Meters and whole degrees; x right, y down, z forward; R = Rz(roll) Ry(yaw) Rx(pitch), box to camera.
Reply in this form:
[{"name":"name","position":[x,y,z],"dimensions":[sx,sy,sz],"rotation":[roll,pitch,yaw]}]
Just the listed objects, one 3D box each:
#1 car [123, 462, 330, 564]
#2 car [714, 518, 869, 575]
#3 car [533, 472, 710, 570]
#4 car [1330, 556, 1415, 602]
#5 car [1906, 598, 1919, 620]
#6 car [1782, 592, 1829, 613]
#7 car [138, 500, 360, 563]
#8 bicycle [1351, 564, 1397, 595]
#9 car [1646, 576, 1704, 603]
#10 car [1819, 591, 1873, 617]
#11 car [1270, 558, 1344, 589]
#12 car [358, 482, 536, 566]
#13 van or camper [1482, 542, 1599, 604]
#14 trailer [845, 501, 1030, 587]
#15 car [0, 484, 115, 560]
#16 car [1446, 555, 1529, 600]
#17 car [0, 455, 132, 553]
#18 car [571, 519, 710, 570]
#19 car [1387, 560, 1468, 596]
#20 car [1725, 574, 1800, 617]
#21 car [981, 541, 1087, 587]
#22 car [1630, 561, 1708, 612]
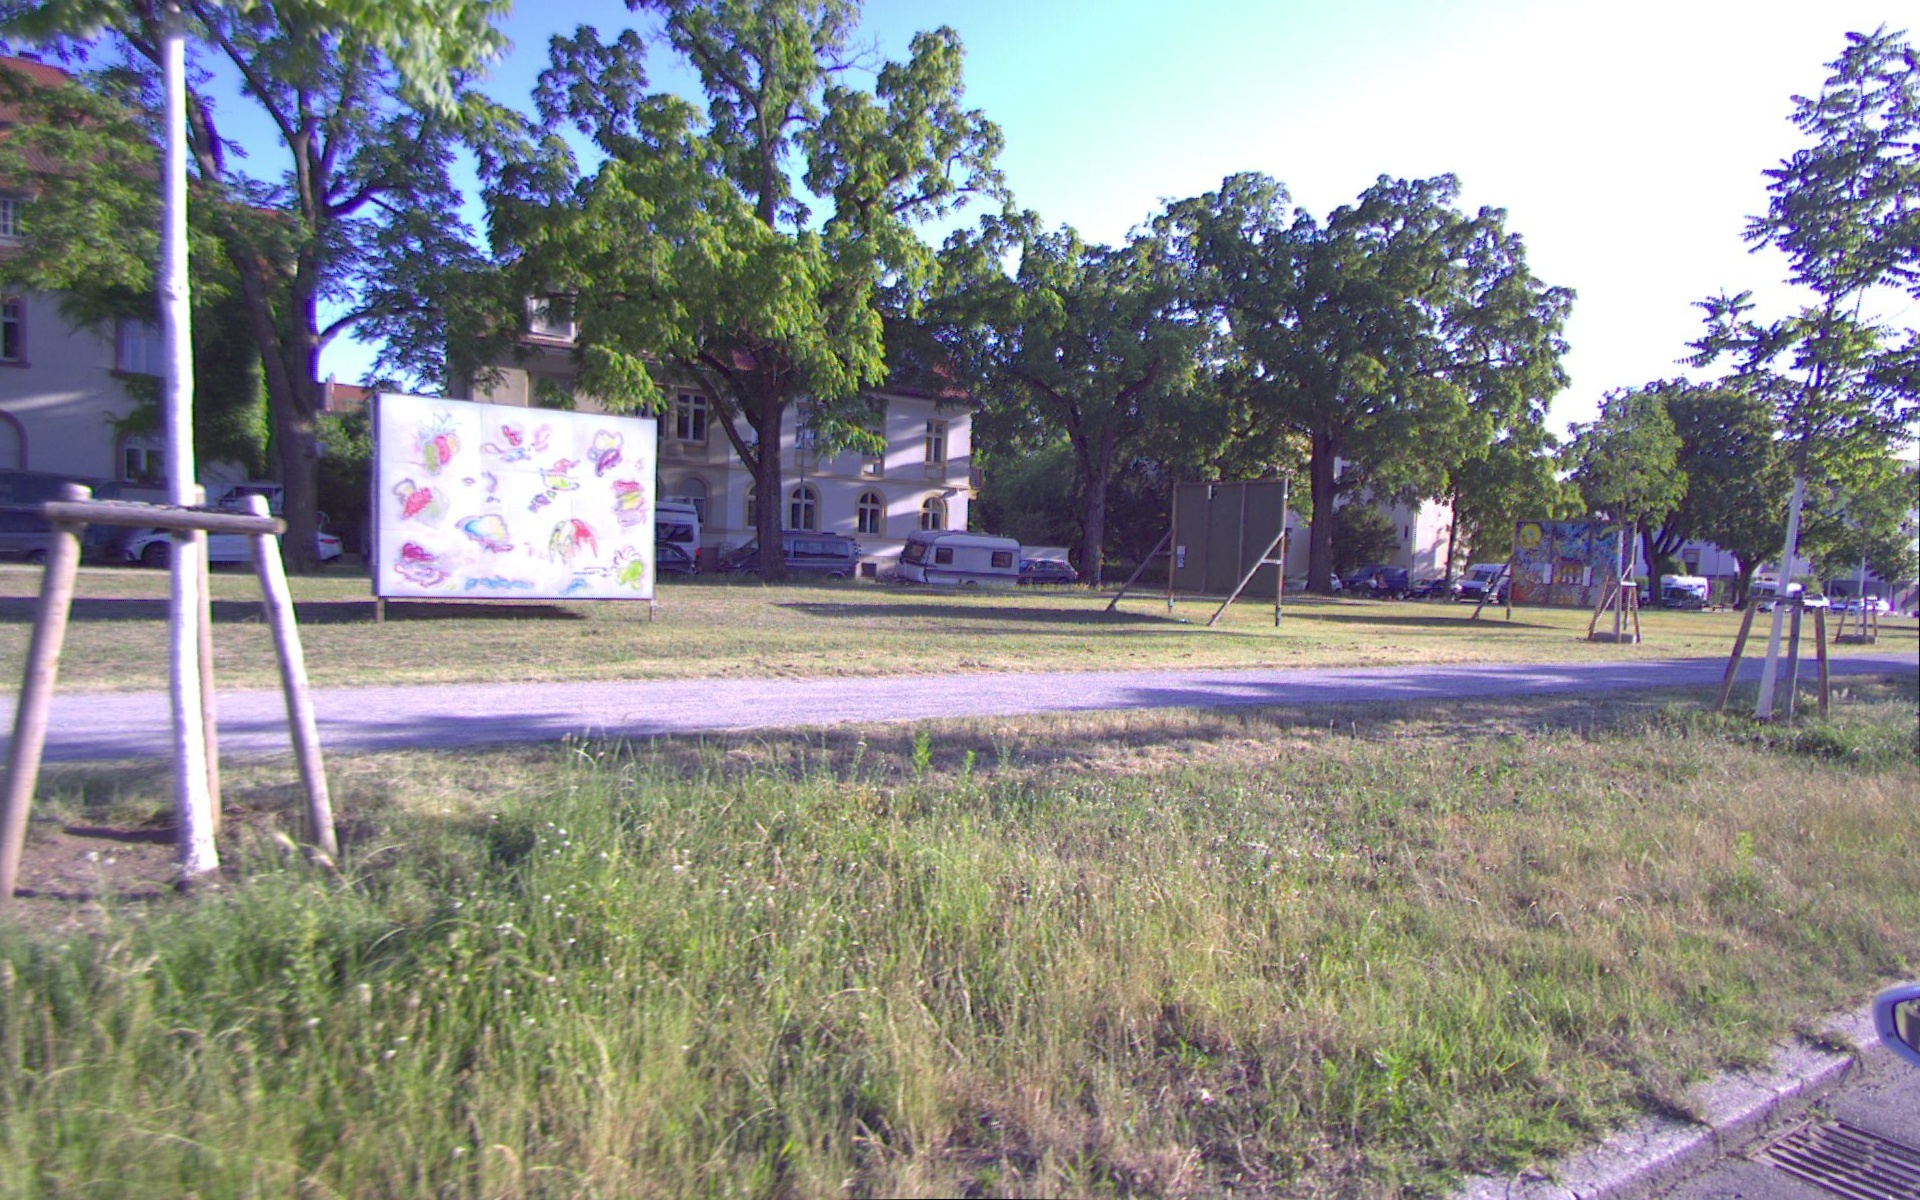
[{"name":"car","position":[-22.893,-2.647,31.636],"dimensions":[4.985,2.674,1.936],"rotation":[2,-1,-30]},{"name":"car","position":[-5.828,-1.859,34.992],"dimensions":[4.896,1.664,1.982],"rotation":[2,4,-32]},{"name":"car","position":[-12.608,-2.864,37.545],"dimensions":[6.003,3.293,1.983],"rotation":[0,3,-30]},{"name":"car","position":[24.581,-1.225,59.802],"dimensions":[5.056,2.450,1.928],"rotation":[2,-1,-30]},{"name":"car","position":[86.713,0.832,89.857],"dimensions":[4.277,1.942,1.880],"rotation":[2,-1,-30]},{"name":"car","position":[75.732,0.235,90.001],"dimensions":[4.612,1.725,1.773],"rotation":[2,-1,-30]},{"name":"car","position":[-20.699,-1.981,29.576],"dimensions":[5.110,1.546,1.984],"rotation":[1,3,-30]},{"name":"bicycle","position":[19.029,-0.932,46.158],"dimensions":[2.300,1.360,0.508],"rotation":[1,3,-27]},{"name":"car","position":[46.831,-0.664,65.759],"dimensions":[4.261,1.585,1.406],"rotation":[1,4,-31]},{"name":"car","position":[71.228,0.364,80.770],"dimensions":[4.586,1.924,1.825],"rotation":[2,-1,-29]},{"name":"car","position":[19.723,-1.523,57.069],"dimensions":[3.767,1.563,1.982],"rotation":[1,4,-32]},{"name":"car","position":[-15.024,-2.169,29.476],"dimensions":[4.521,2.204,1.982],"rotation":[0,3,-32]},{"name":"van or camper","position":[33.641,-1.526,58.173],"dimensions":[6.821,3.307,2.629],"rotation":[1,3,-30]},{"name":"trailer","position":[-0.787,-1.985,37.812],"dimensions":[6.561,2.694,2.461],"rotation":[2,-1,-31]},{"name":"car","position":[-23.631,-1.929,24.523],"dimensions":[4.295,1.752,1.983],"rotation":[0,3,-31]},{"name":"car","position":[34.908,-1.421,66.396],"dimensions":[6.019,2.632,1.984],"rotation":[2,-1,-30]},{"name":"car","position":[-26.878,-2.810,29.199],"dimensions":[3.953,2.575,1.984],"rotation":[3,2,-30]},{"name":"car","position":[-10.258,-1.784,32.266],"dimensions":[3.991,1.333,1.845],"rotation":[2,4,-27]},{"name":"car","position":[29.189,-1.374,62.698],"dimensions":[4.989,2.031,1.960],"rotation":[1,4,-29]},{"name":"car","position":[58.069,-0.312,72.671],"dimensions":[5.801,2.863,2.250],"rotation":[2,-1,-30]},{"name":"car","position":[3.492,-1.693,47.359],"dimensions":[4.657,1.938,1.881],"rotation":[1,4,-30]},{"name":"car","position":[54.553,-0.985,77.231],"dimensions":[6.686,3.606,2.292],"rotation":[2,-1,-30]}]
